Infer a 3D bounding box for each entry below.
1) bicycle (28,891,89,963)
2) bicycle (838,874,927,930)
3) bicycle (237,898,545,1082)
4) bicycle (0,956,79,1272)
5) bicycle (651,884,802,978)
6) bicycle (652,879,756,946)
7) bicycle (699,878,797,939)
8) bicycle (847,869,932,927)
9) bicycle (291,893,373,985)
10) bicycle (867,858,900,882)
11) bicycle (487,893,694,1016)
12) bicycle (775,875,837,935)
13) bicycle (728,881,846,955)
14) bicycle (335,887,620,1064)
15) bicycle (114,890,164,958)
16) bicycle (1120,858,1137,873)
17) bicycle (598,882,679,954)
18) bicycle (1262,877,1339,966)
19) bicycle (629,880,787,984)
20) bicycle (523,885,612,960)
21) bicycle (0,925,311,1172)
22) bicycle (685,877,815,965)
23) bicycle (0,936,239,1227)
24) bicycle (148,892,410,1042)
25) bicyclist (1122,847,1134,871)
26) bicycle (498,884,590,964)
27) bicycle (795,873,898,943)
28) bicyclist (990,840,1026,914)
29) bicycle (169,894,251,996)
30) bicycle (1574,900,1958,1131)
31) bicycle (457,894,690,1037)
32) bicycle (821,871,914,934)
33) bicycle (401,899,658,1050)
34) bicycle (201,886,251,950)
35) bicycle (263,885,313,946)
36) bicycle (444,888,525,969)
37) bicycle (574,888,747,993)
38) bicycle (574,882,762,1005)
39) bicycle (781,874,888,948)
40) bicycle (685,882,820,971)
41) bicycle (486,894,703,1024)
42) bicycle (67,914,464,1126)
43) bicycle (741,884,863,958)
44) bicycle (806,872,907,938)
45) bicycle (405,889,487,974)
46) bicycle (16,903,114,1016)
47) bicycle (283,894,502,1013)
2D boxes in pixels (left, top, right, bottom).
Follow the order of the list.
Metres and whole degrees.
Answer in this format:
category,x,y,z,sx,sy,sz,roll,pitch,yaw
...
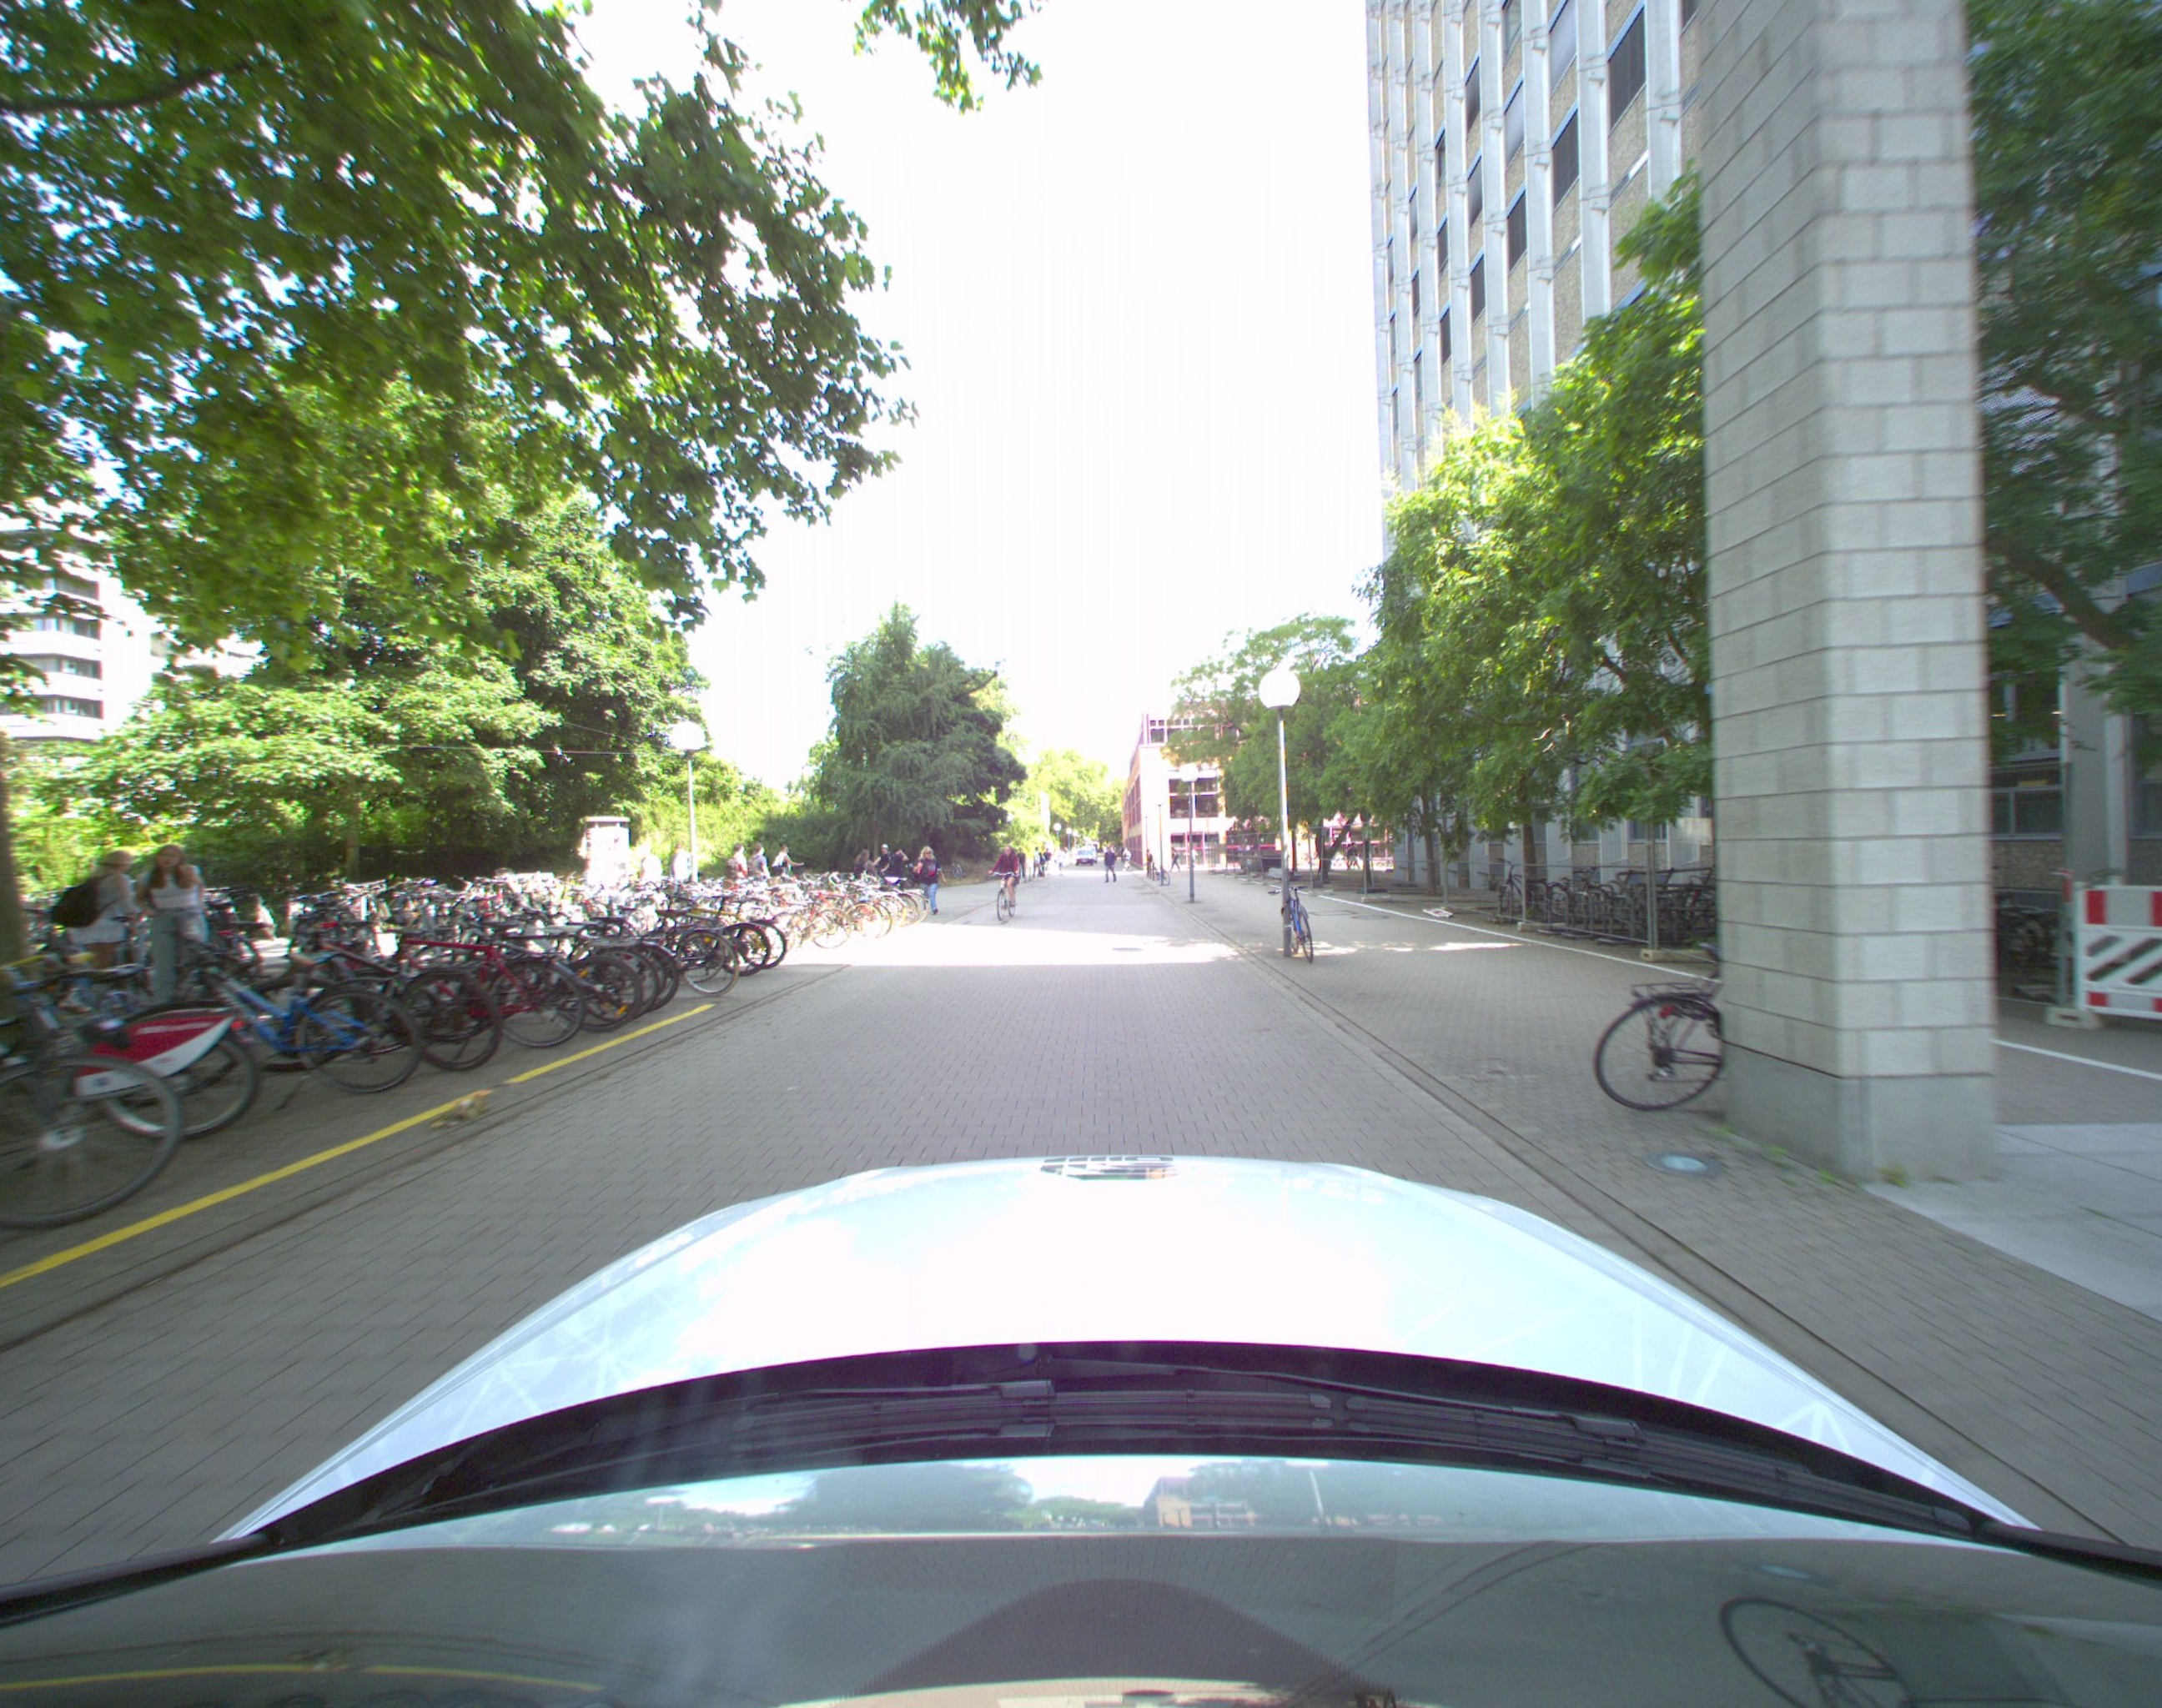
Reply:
category,x,y,z,sx,sy,sz,roll,pitch,yaw
bicycle,-17.622,1.227,14.062,1.755,1.110,0.520,-1,0,43
bicycle,-4.063,0.980,16.751,1.691,1.091,0.473,-1,0,-5
bicycle,-4.817,0.929,5.742,1.729,1.178,0.497,-1,0,0
bicycle,-4.769,0.967,2.925,1.729,1.108,0.497,-1,0,1
bicycle,-4.592,0.982,10.647,1.694,1.108,0.580,-1,0,-10
bicycle,-6.438,0.991,13.911,1.682,1.083,0.476,-1,0,14
bicycle,-6.124,0.994,14.981,1.682,1.083,0.476,-1,0,13
bicycle,-4.028,0.925,17.221,1.693,1.159,0.473,-1,0,-8
bicycle,-9.832,1.071,10.674,1.677,1.083,0.477,-1,0,37
bicycle,-8.768,0.690,36.232,0.468,1.047,1.709,1,0,23
bicycle,-4.849,0.974,8.139,1.694,1.108,0.472,-1,0,-10
bicycle,-5.402,0.974,16.089,0.504,1.083,1.702,-1,0,5
bicycle,-4.673,0.990,12.997,1.706,1.062,0.469,-1,0,-34
bicycle,-4.609,0.903,6.301,1.733,1.236,0.496,-1,0,-7
bicycle,-16.988,1.237,14.710,1.755,1.110,0.520,-1,0,43
bicycle,3.432,0.837,58.964,0.589,1.083,1.896,-1,0,-19
bicycle,-7.212,1.013,13.256,1.677,1.083,0.477,-1,0,36
bicycle,2.967,0.876,11.169,0.535,1.039,1.859,-2,0,1
bicycle,-4.597,0.944,10.119,1.694,1.187,0.472,-1,0,-11
bicycle,-8.017,1.032,12.692,1.677,1.083,0.477,-1,0,32
bicycle,-5.228,0.983,4.201,1.742,1.108,0.493,-1,0,-23
bicycle,-4.777,0.942,11.794,1.703,1.157,0.470,-1,0,-26
bicycle,-4.842,0.967,3.546,1.731,1.126,0.496,-1,0,-4
bicycle,-7.229,0.991,7.406,1.694,1.220,0.501,-1,0,-11
bicyclist,3.419,0.342,58.982,0.589,1.716,0.661,-1,0,-19
bicycle,-7.980,1.007,12.079,1.677,1.083,0.477,-1,0,32
bicycle,-4.134,0.941,14.428,1.695,1.168,0.472,-1,0,-12
bicyclist,-1.731,0.533,19.360,0.769,1.716,0.910,-1,-1,-2
bicycle,-10.384,1.043,9.698,1.677,1.083,0.477,-1,0,37
bicycle,3.613,0.821,4.337,1.735,1.039,0.449,-2,1,-4
bicycle,-4.499,0.964,7.304,1.694,1.145,0.472,-1,0,-11
bicycle,-4.176,0.943,15.991,1.691,1.168,0.473,-1,0,-5
bicycle,-4.529,0.965,6.779,1.694,1.108,0.495,-1,0,-10
bicycle,-16.302,1.190,15.515,1.755,1.110,0.520,-1,0,40
bicycle,-15.869,1.202,16.285,1.755,1.110,0.520,-1,0,40
bicycle,-8.778,1.053,11.955,1.677,1.083,0.477,-1,0,37
bicycle,-4.898,0.990,9.569,1.694,1.108,0.564,-1,0,-10
bicycle,-4.390,0.932,8.733,1.692,1.198,0.535,-1,0,-8
bicycle,-4.175,0.943,13.886,1.697,1.168,0.471,-1,0,-16
bicycle,-4.573,0.981,11.378,1.703,1.108,0.470,-1,0,-26
bicycle,-4.589,0.966,7.763,1.694,1.108,0.472,-1,0,-11
bicycle,-4.955,0.975,5.052,1.736,1.108,0.495,-1,0,-12
bicycle,-4.310,1.012,12.640,1.706,1.018,0.469,-1,0,-34
bicycle,-4.173,0.939,15.139,1.763,1.168,0.476,-1,0,14
bicycle,-8.992,1.057,11.515,1.677,1.083,0.477,-1,0,37
bicycle,-11.269,1.121,9.070,0.477,1.083,1.678,-1,0,-44
bicycle,-7.100,1.007,8.463,1.694,1.108,0.501,-1,0,-11
